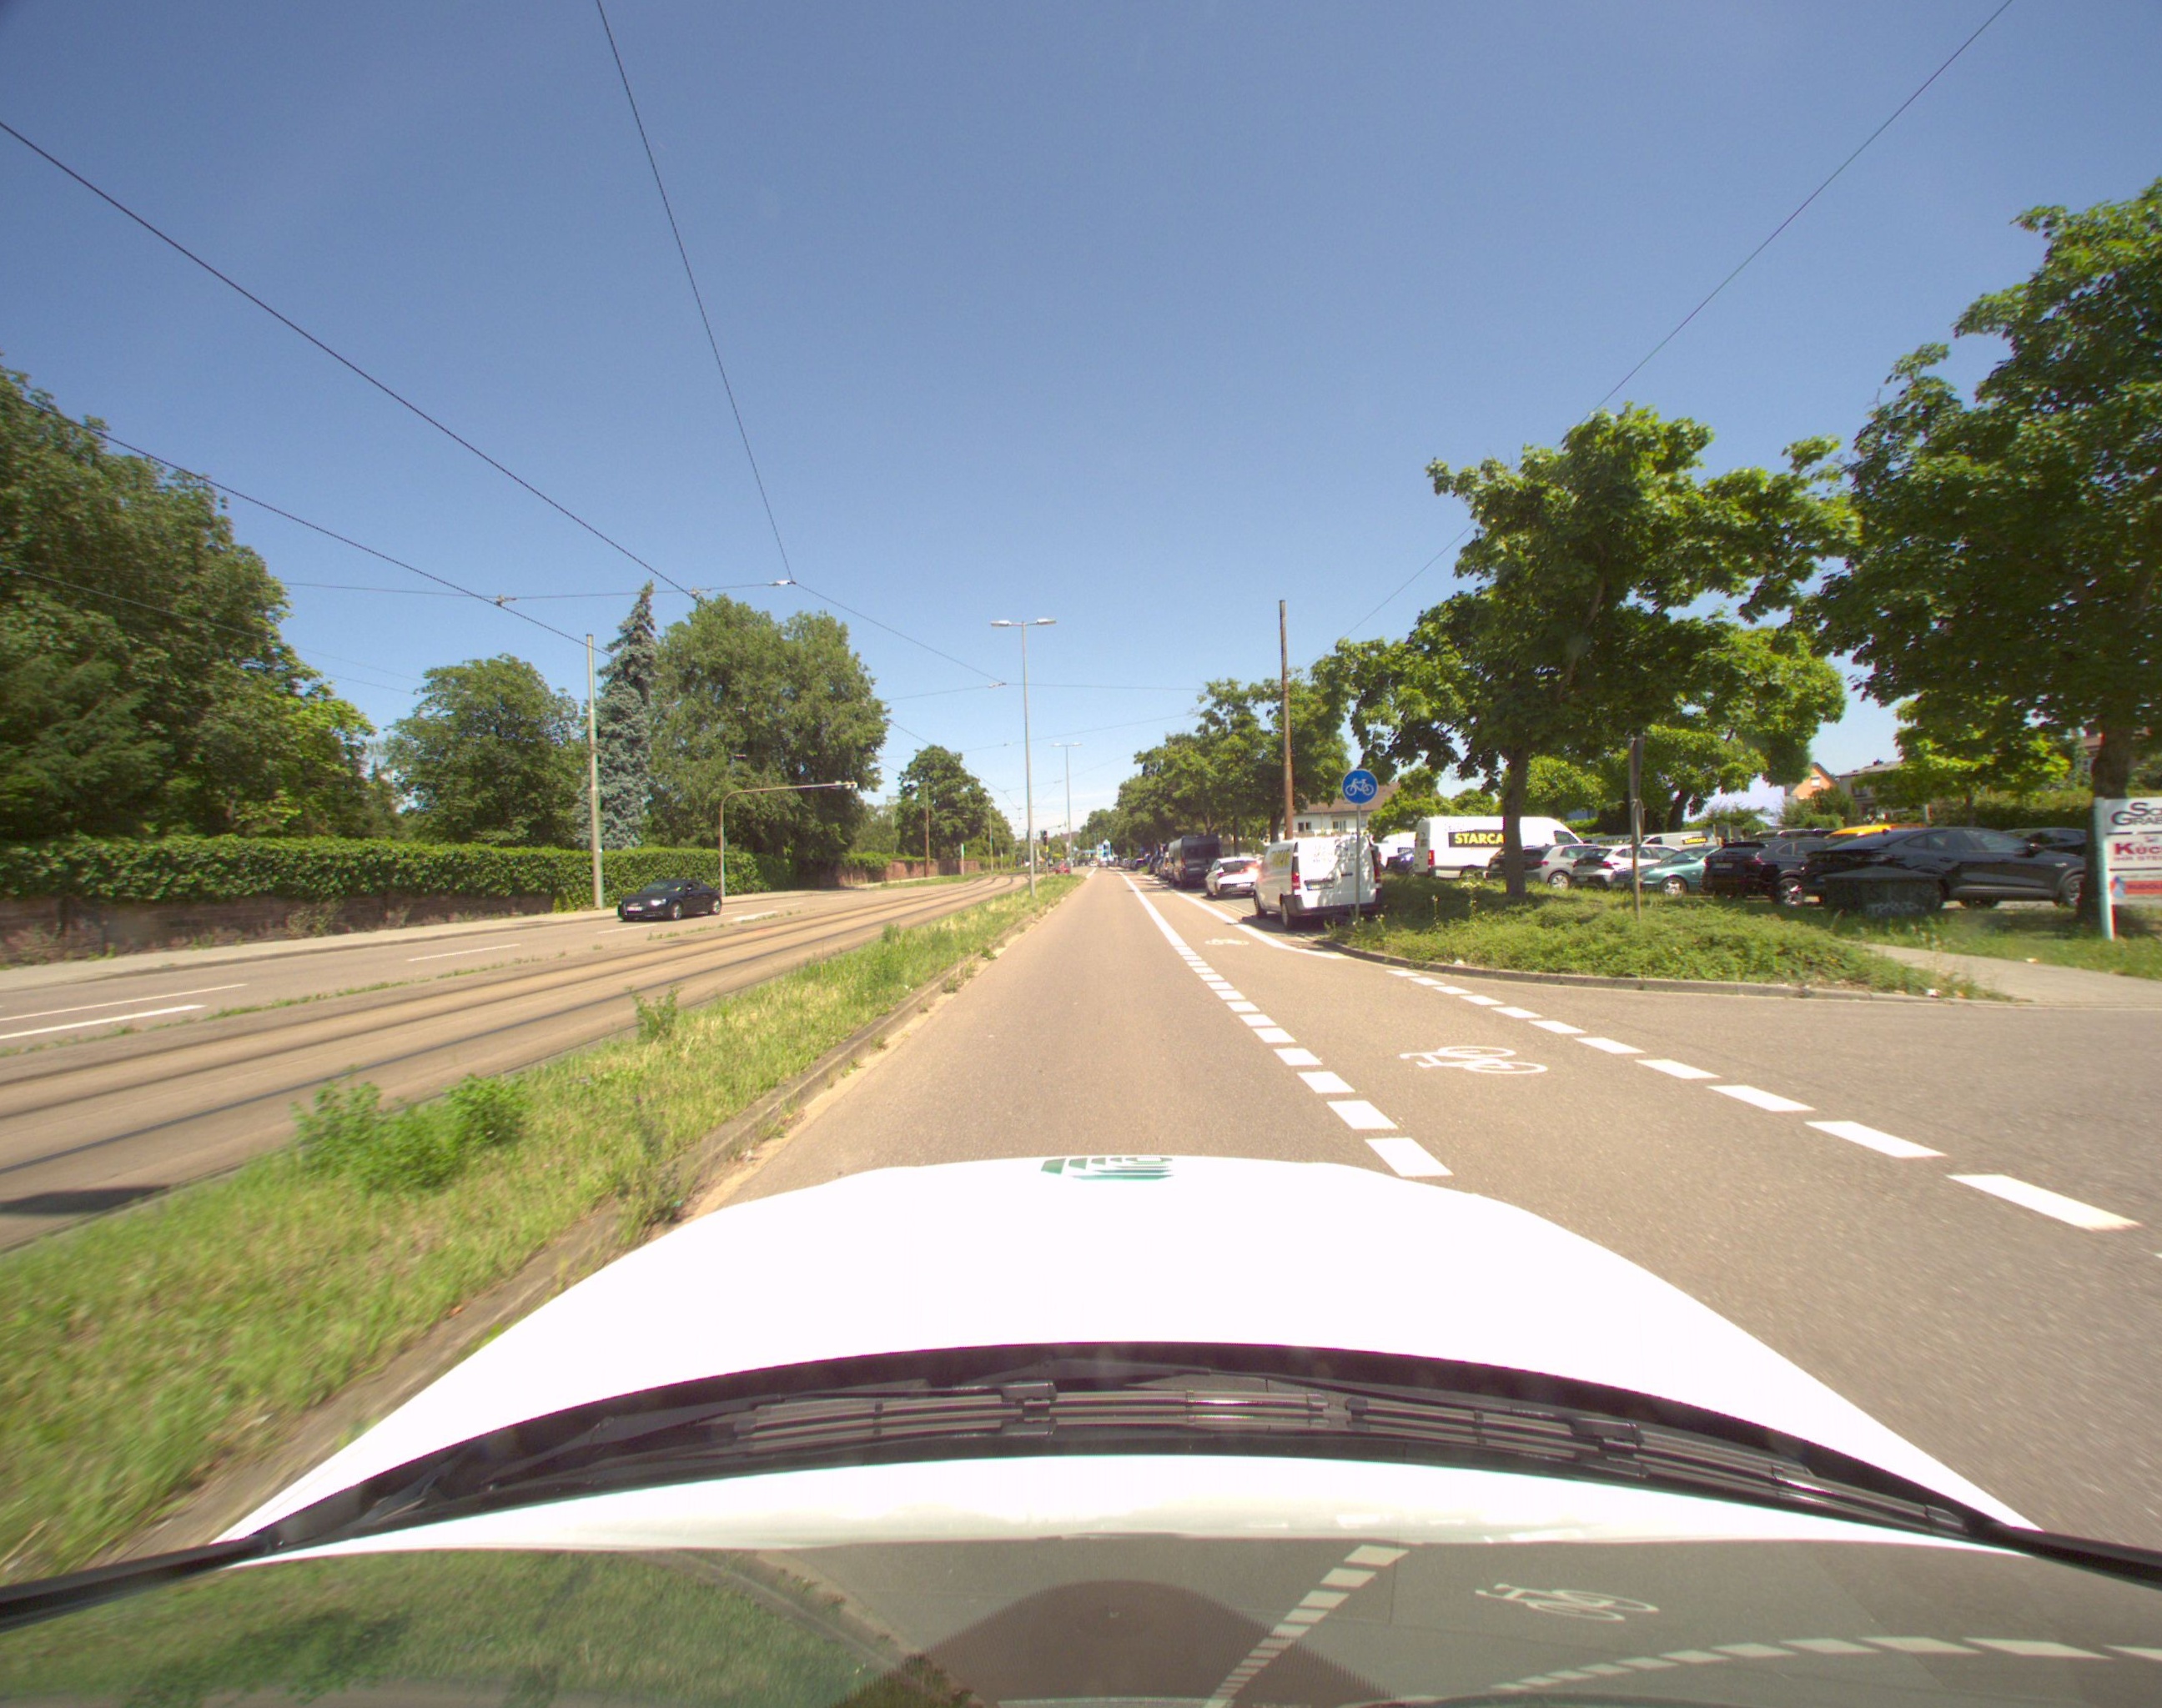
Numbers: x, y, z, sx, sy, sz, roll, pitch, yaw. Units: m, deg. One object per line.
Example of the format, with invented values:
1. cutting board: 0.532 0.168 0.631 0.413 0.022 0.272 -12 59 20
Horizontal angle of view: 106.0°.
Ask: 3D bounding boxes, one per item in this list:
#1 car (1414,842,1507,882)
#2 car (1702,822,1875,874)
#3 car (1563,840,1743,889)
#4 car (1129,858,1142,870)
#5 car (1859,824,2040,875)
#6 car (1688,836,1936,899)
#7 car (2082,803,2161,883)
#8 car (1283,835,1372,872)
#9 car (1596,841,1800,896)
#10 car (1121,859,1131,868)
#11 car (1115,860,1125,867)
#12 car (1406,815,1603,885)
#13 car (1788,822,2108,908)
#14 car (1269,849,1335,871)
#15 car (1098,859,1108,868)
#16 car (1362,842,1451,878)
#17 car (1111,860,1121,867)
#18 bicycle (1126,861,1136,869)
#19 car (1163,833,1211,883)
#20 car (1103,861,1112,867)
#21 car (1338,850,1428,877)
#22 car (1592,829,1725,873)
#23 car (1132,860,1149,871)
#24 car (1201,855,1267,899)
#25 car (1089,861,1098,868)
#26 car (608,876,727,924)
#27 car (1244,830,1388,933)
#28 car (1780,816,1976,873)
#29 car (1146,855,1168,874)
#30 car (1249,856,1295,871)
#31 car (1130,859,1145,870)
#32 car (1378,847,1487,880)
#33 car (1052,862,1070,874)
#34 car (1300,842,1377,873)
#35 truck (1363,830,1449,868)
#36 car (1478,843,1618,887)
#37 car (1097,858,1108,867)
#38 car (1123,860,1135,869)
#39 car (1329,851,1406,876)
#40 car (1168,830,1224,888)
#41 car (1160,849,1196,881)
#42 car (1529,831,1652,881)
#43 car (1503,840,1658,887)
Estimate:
1. car: 16.798 0.353 36.188 3.359 1.717 1.728 0 -1 1
2. car: 28.941 -0.236 33.442 5.134 1.752 2.096 -3 -1 2
3. car: 16.021 0.291 22.946 3.873 1.325 1.728 0 -1 0
4. car: 8.465 1.516 127.184 1.833 1.706 4.629 -4 0 3
5. car: 29.575 -0.136 27.819 4.294 1.436 1.633 -3 -1 2
6. car: 15.736 0.289 17.680 3.873 1.281 1.728 0 -1 0
7. car: 28.450 -0.397 20.158 4.900 1.900 1.909 -3 -1 0
8. car: 16.694 -0.010 55.455 5.469 2.459 2.096 0 -1 2
9. car: 15.437 0.356 20.521 3.873 1.325 1.728 0 -1 0
10. car: 9.629 2.045 175.268 1.834 1.694 4.780 -4 0 2
11. car: 9.227 2.307 192.131 1.703 1.492 5.033 -4 0 -3
12. car: 15.988 -0.149 31.045 6.312 2.529 2.266 0 -1 4
13. car: 15.946 0.203 15.132 4.185 1.490 1.678 0 -1 0
14. car: 17.132 0.467 63.396 4.674 1.644 1.955 0 -1 2
15. car: 4.565 1.940 168.371 1.750 1.630 4.322 -4 0 -1
16. car: 16.527 0.313 41.493 3.770 1.784 1.952 0 -1 -3
17. car: 8.628 2.448 203.321 1.706 1.562 4.311 -4 0 -8
18. bicycle: 9.021 1.928 147.059 1.765 1.228 0.684 -7 -1 5
19. car: 6.229 0.256 48.657 1.990 2.636 6.144 -4 0 1
20. car: 7.104 2.659 219.233 1.755 1.630 4.312 -4 0 -8
21. car: 16.394 0.510 44.367 4.264 1.406 1.727 0 -1 -1
22. car: 28.916 -0.141 40.879 5.077 1.876 2.096 -3 -1 2
23. car: 7.964 1.529 109.582 1.835 1.436 4.822 -4 0 -1
24. car: 5.622 0.826 30.447 1.716 1.428 4.211 -4 -1 2
25. car: 3.266 2.666 212.828 1.754 1.630 4.314 -4 0 -6
26. car: -13.919 1.499 27.695 1.748 1.449 4.126 0 0 3
27. car: 5.168 0.556 18.697 1.872 1.916 5.127 -4 0 2
28. car: 29.729 -0.334 30.510 5.134 1.752 2.096 -3 -1 2
29. car: 7.243 1.020 77.948 1.706 1.632 4.709 -4 -1 1
30. car: 17.361 0.875 74.067 3.845 1.358 1.771 0 -1 2
31. car: 8.411 1.511 121.547 1.835 1.529 4.351 -4 0 -1
32. car: 16.736 0.460 38.895 4.394 1.505 1.953 0 -1 -2
33. car: -2.457 1.732 101.347 1.698 1.414 4.286 -2 0 4
34. car: 16.552 0.231 52.458 4.396 1.909 1.952 0 -1 -3
35. truck: 30.096 -0.444 75.620 6.924 3.085 2.424 -3 -1 0
36. car: 16.060 0.371 28.140 3.875 1.472 1.727 0 -1 -1
37. car: 5.968 2.458 229.371 2.000 2.457 6.090 -4 0 -9
38. car: 9.120 1.946 154.106 1.836 1.529 4.963 -4 0 -1
39. car: 16.593 0.549 47.223 3.875 1.406 1.727 0 -1 -1
40. car: 5.790 0.265 41.725 1.990 2.636 6.080 -4 0 1
41. car: 6.524 0.727 55.351 1.989 1.878 5.280 -4 0 3
42. car: 28.665 0.108 45.977 5.469 2.459 2.096 -3 -1 2
43. car: 15.513 0.298 25.414 3.879 1.380 1.725 0 -1 -5
